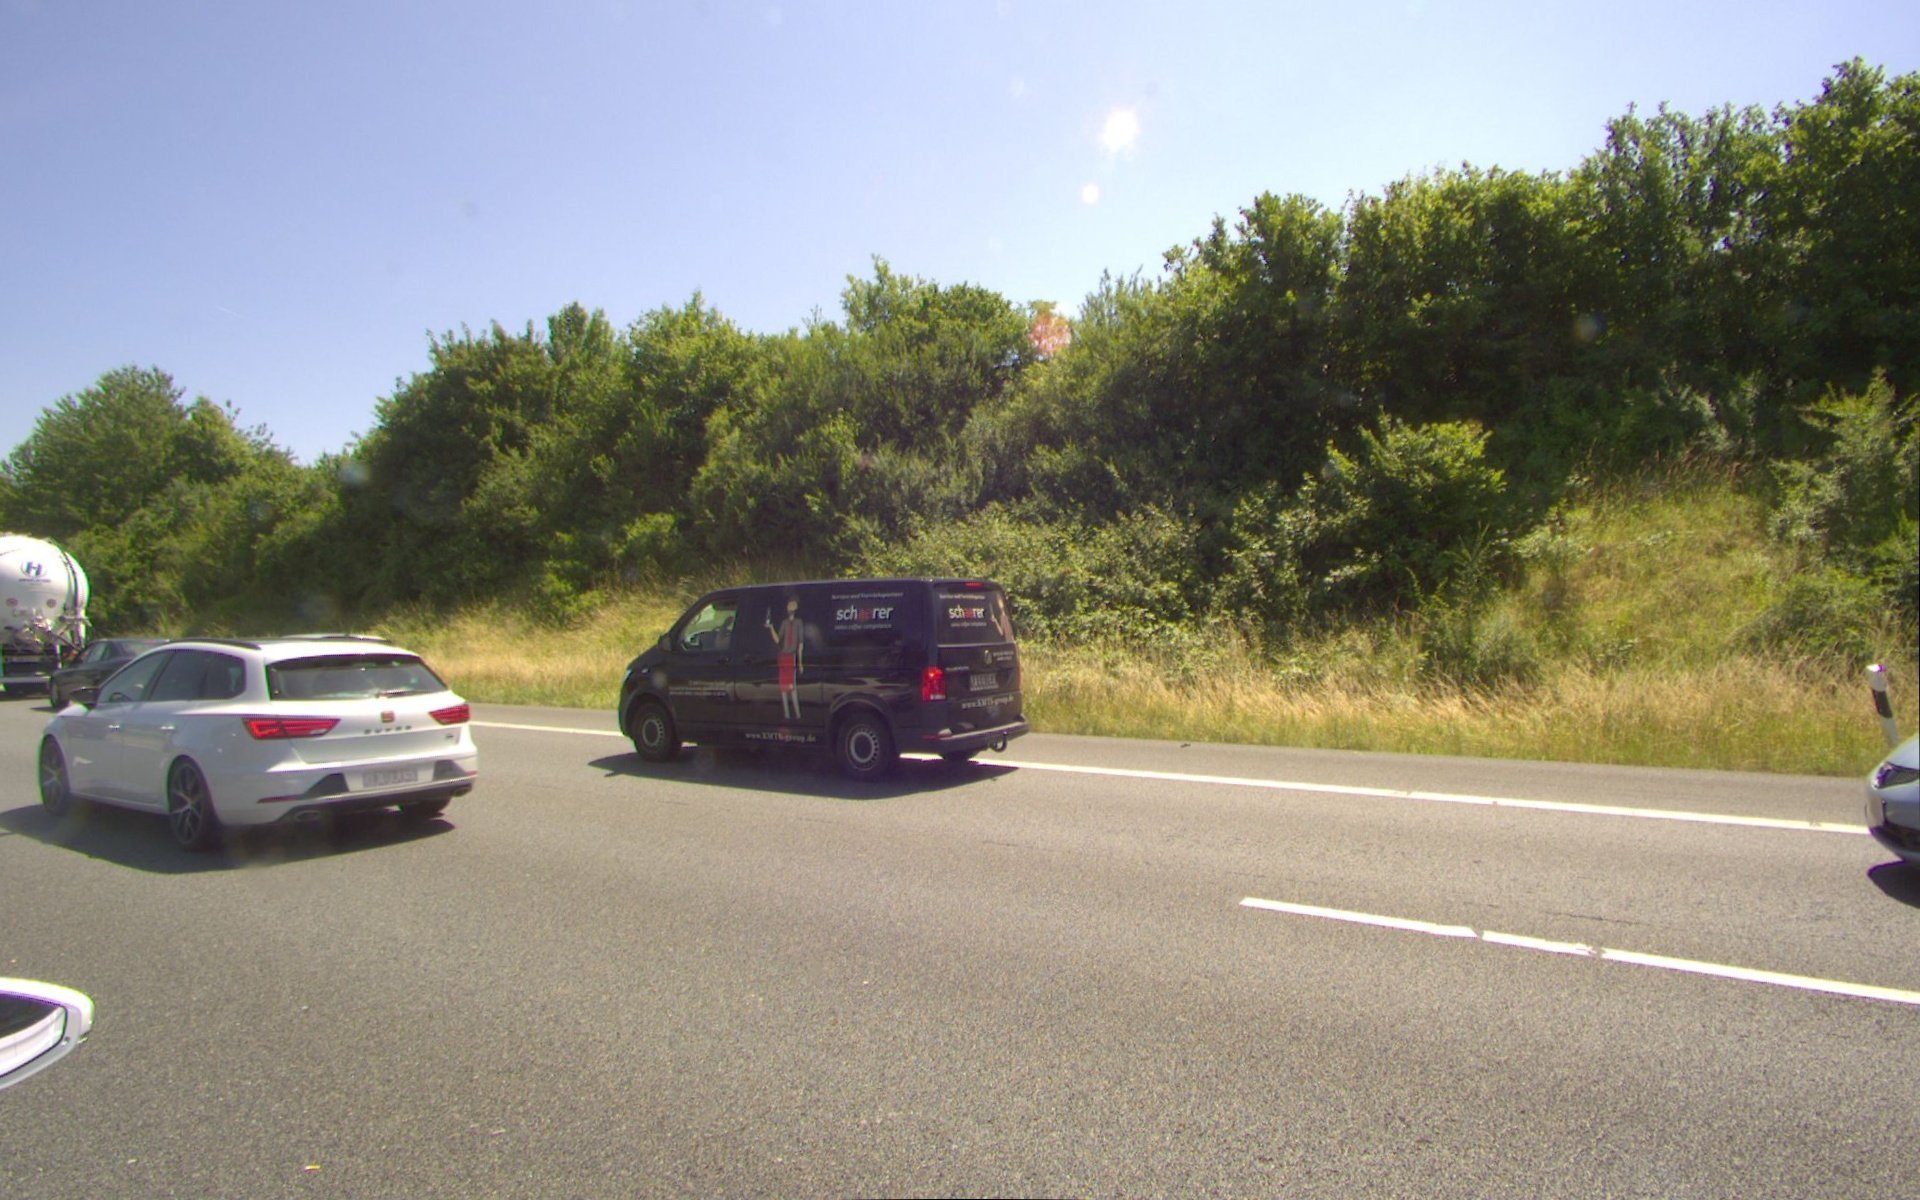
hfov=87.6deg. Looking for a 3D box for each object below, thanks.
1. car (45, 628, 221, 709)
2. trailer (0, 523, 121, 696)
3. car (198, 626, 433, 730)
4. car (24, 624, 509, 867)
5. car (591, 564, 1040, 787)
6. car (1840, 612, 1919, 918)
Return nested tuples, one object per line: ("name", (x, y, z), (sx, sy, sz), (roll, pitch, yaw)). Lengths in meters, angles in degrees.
("car", (-16.712, 1.338, 20.188), (3.934, 1.435, 1.637), (-2, 0, 34))
("trailer", (-25.940, 0.324, 26.258), (11.323, 3.895, 2.755), (-1, -1, 32))
("car", (-10.512, 1.172, 16.265), (3.971, 1.462, 1.727), (0, 0, 33))
("car", (-5.659, 0.970, 8.016), (4.254, 1.462, 1.743), (-2, -1, 34))
("car", (-1.698, 0.747, 10.933), (4.790, 1.965, 1.909), (-2, -1, 34))
("car", (6.752, 0.787, 4.559), (3.865, 1.480, 1.659), (-1, 0, 32))
